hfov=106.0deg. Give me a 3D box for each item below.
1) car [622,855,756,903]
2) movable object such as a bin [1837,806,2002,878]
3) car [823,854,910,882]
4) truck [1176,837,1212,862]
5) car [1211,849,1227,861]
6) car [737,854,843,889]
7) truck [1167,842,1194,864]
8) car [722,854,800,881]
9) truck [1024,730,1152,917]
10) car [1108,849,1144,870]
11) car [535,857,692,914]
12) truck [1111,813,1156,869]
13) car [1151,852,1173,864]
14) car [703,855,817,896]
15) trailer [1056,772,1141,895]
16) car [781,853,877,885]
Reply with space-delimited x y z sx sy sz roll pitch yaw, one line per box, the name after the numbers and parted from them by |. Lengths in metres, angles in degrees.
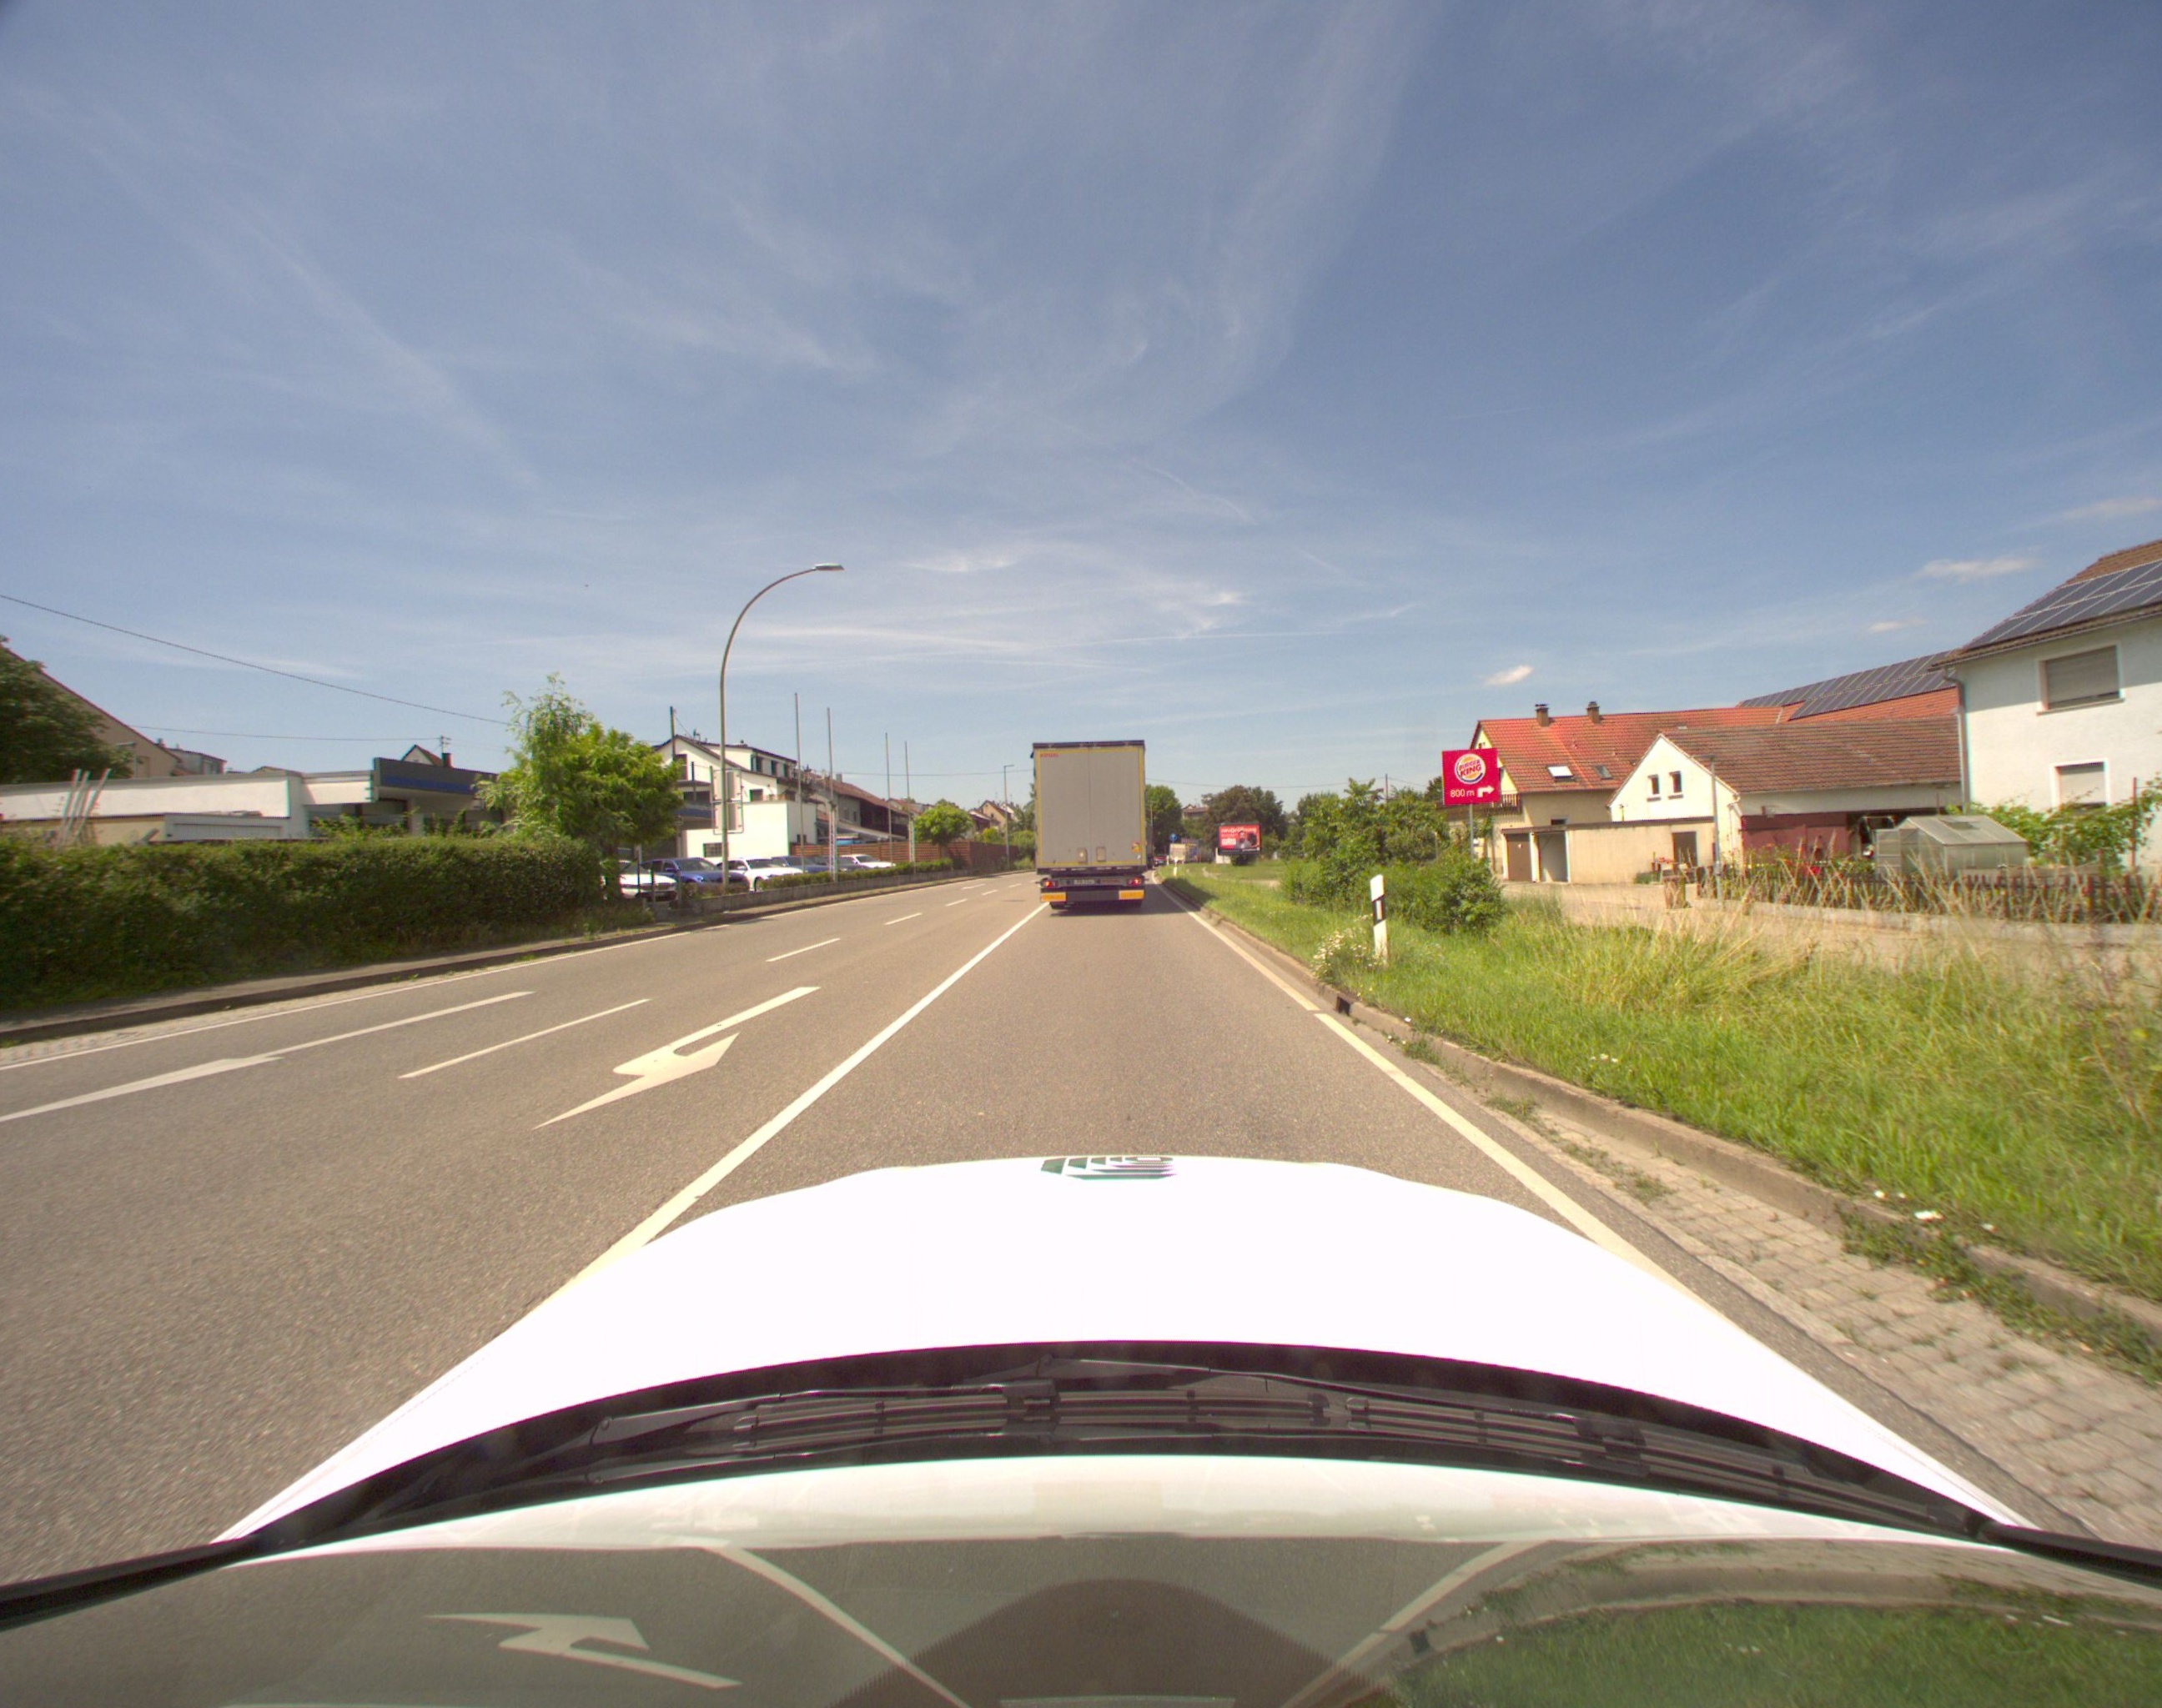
-12.678 0.790 26.270 4.286 1.447 1.869 -1 -1 32 | car
30.408 -0.427 29.651 3.690 2.343 2.083 -3 1 6 | movable object such as a bin
-11.215 0.736 42.522 4.287 1.447 1.868 -1 -1 28 | car
17.027 -0.733 122.156 3.405 3.604 9.399 -1 1 19 | truck
24.156 0.210 142.545 1.977 2.014 4.019 -1 -1 19 | car
-12.609 0.766 35.216 4.288 1.447 1.868 -1 -1 27 | car
13.526 -0.121 110.337 2.523 2.803 6.060 -1 -1 18 | truck
-18.888 0.795 48.070 3.956 1.510 1.843 -1 0 16 | car
0.419 -0.686 23.790 2.811 4.127 11.451 -1 0 3 | truck
3.059 0.369 54.597 1.807 1.346 3.859 -1 -1 11 | car
-13.124 0.848 22.797 4.521 1.447 1.869 -1 -1 32 | car
4.813 -0.900 71.155 2.745 4.289 16.449 -1 -1 8 | truck
9.653 0.523 96.661 1.978 1.376 4.016 -1 -1 16 | car
-12.297 0.789 31.096 4.457 1.447 1.869 -1 0 35 | car
0.746 -0.695 30.868 2.814 4.111 6.549 -1 0 3 | trailer
-12.030 0.716 38.854 4.287 1.447 1.910 -1 -1 28 | car
